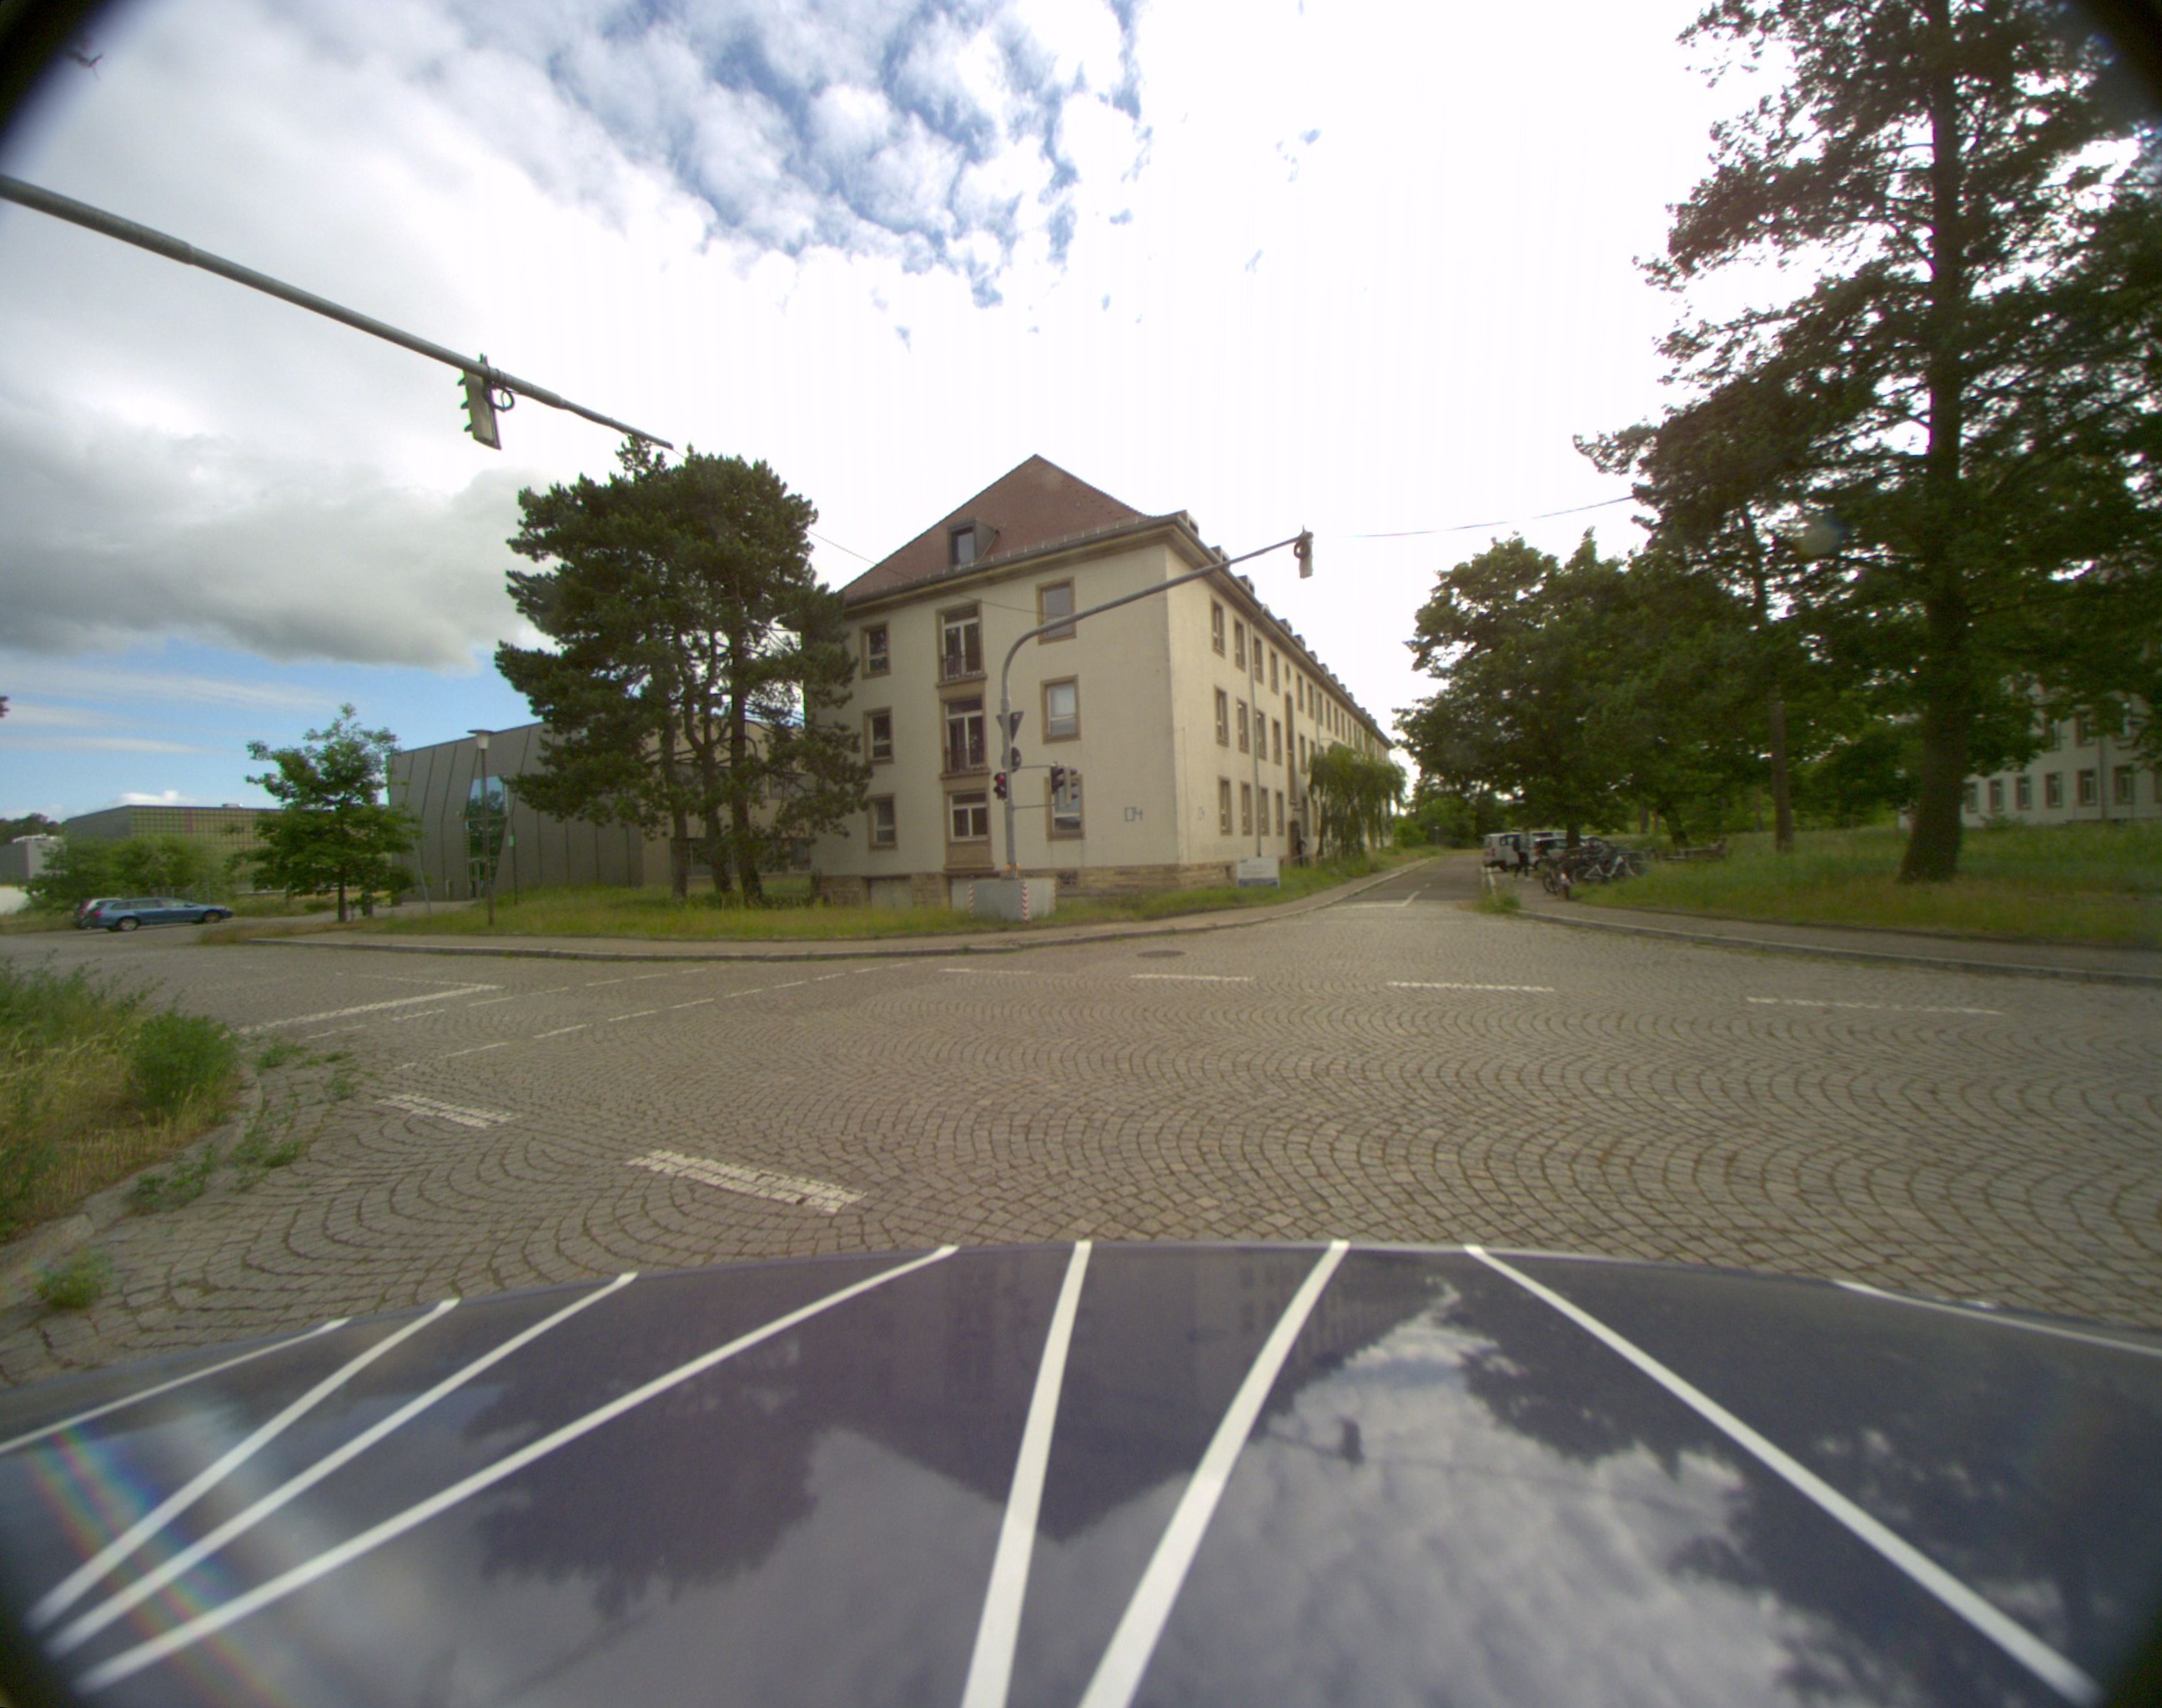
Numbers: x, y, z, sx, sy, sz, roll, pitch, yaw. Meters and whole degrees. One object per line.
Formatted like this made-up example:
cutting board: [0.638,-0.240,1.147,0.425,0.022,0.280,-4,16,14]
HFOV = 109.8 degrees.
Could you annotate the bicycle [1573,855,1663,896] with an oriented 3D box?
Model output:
bicycle: [14.468,0.589,20.543,1.895,1.059,0.617,-2,1,26]

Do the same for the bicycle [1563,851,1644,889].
bicycle: [15.790,0.488,23.013,1.947,1.059,0.563,-2,1,26]

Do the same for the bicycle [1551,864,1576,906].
bicycle: [11.555,0.718,18.212,0.459,0.903,1.665,-2,0,32]

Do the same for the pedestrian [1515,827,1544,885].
pedestrian: [15.362,0.063,26.020,0.792,1.926,0.589,-2,1,28]

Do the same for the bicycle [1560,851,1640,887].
bicycle: [16.022,0.470,23.503,1.947,1.059,0.563,-2,1,26]

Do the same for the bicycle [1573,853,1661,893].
bicycle: [15.094,0.548,21.440,1.947,1.059,0.563,-2,1,26]

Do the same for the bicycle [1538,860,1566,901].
bicycle: [12.332,0.675,19.866,0.459,0.968,1.666,-2,0,36]

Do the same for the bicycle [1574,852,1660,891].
bicycle: [15.471,0.523,21.973,1.947,1.059,0.563,-2,1,26]

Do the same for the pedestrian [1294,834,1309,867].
pedestrian: [11.485,-0.190,39.615,0.567,1.691,0.533,-2,1,32]

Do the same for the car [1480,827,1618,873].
car: [22.652,-0.163,37.087,5.355,1.987,2.294,-2,0,20]

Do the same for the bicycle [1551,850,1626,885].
bicycle: [16.456,0.433,24.694,1.947,1.059,0.563,-2,1,26]

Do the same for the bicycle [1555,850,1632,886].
bicycle: [16.185,0.455,24.036,1.947,1.059,0.563,-2,1,26]

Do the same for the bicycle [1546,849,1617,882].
bicycle: [17.080,0.388,25.954,1.947,1.059,0.563,-2,1,26]

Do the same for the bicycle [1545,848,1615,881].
bicycle: [17.366,0.366,26.482,1.947,1.059,0.563,-2,1,26]

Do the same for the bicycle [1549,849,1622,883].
bicycle: [16.805,0.409,25.333,1.947,1.059,0.563,-2,1,26]

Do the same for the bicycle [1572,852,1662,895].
bicycle: [14.775,0.545,21.009,1.947,1.104,0.563,-2,1,26]

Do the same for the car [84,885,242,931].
car: [-44.243,2.540,36.748,1.995,1.820,4.484,-2,0,27]

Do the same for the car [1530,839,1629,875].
car: [21.818,0.134,33.414,3.433,1.440,1.916,-2,0,27]

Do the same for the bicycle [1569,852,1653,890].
bicycle: [15.622,0.509,22.444,1.947,1.059,0.563,-2,1,26]
